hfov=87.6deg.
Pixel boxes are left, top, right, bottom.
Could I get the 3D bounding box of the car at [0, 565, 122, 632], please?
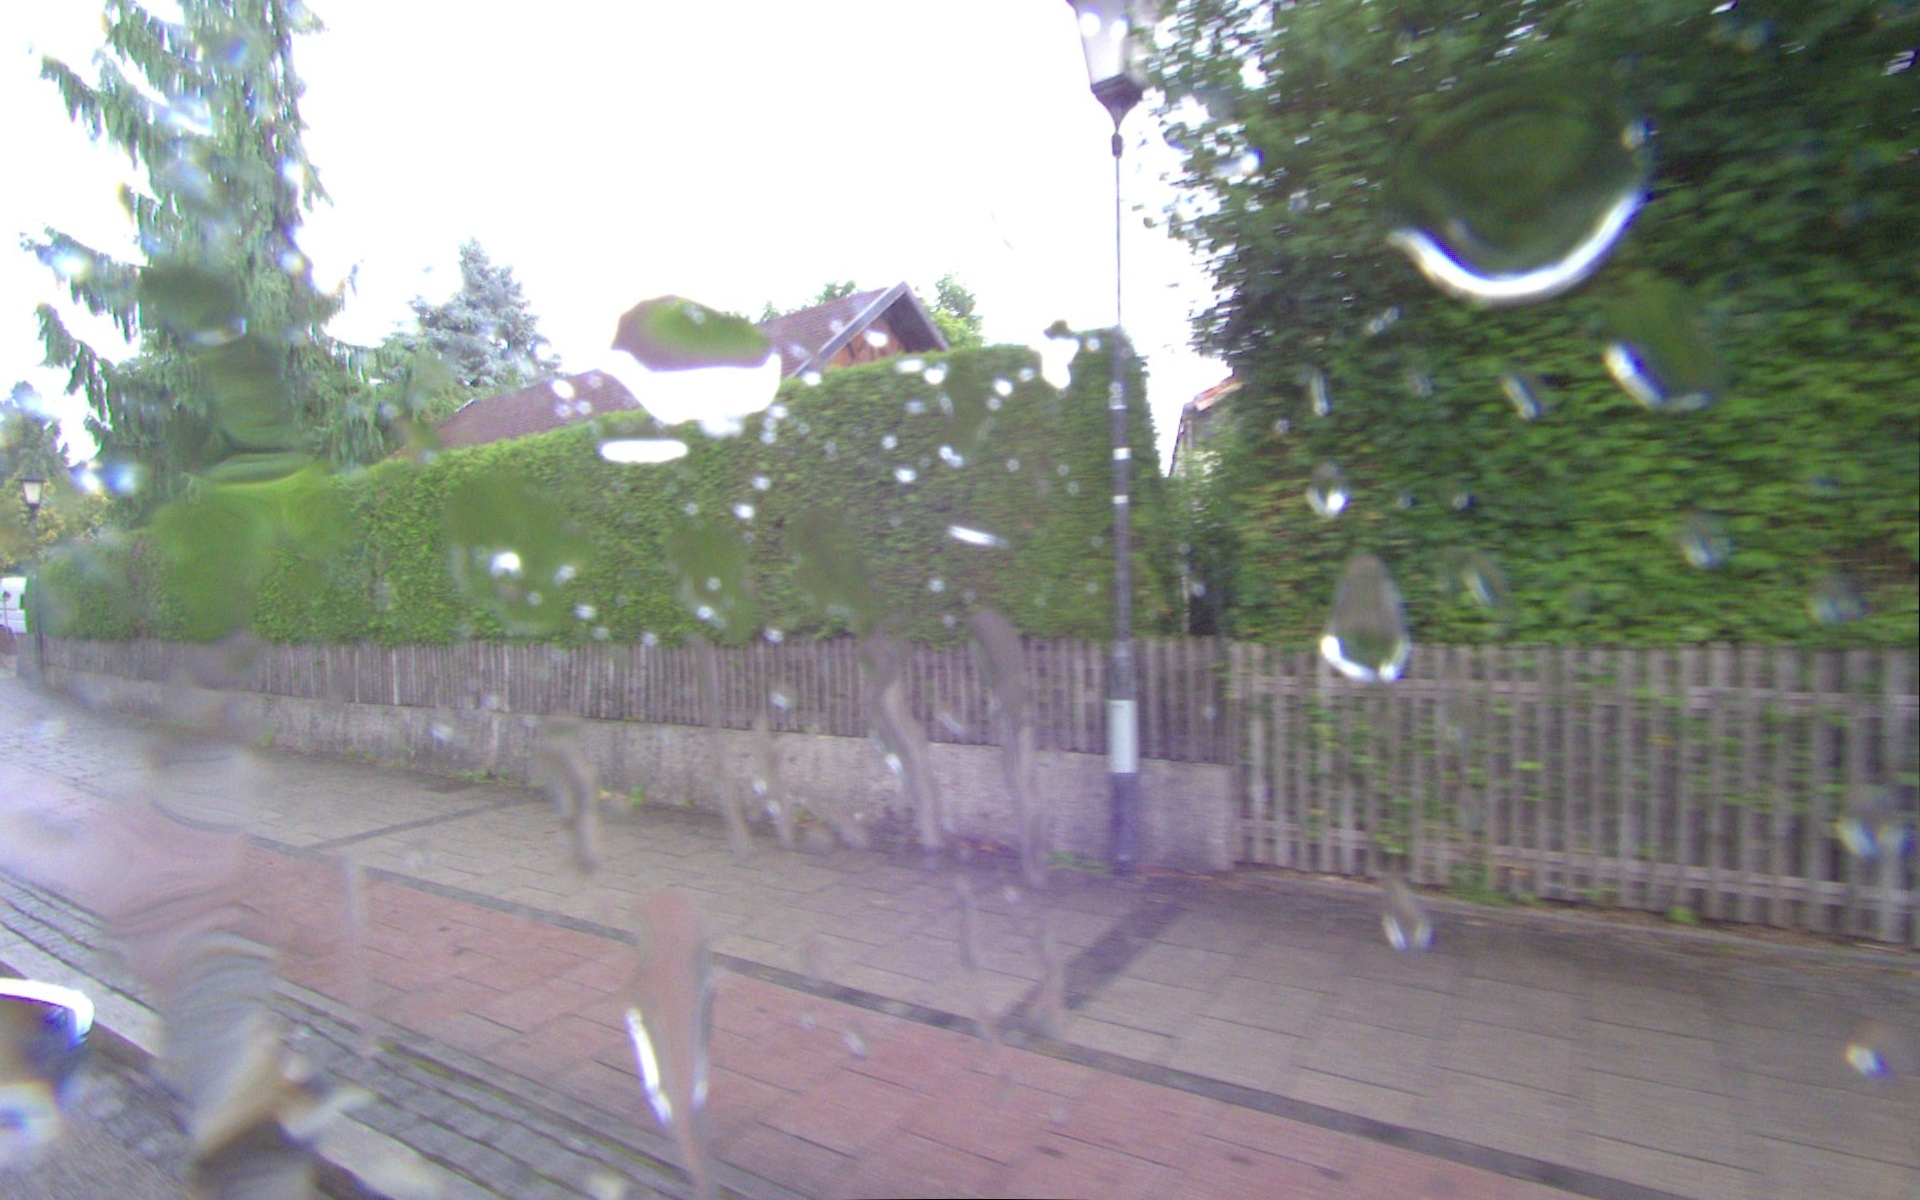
[{"bbox_3d":[-32.081,0.014,35.513,4.878,2.201,1.992,-1,-2,29],"label":"car"}]
